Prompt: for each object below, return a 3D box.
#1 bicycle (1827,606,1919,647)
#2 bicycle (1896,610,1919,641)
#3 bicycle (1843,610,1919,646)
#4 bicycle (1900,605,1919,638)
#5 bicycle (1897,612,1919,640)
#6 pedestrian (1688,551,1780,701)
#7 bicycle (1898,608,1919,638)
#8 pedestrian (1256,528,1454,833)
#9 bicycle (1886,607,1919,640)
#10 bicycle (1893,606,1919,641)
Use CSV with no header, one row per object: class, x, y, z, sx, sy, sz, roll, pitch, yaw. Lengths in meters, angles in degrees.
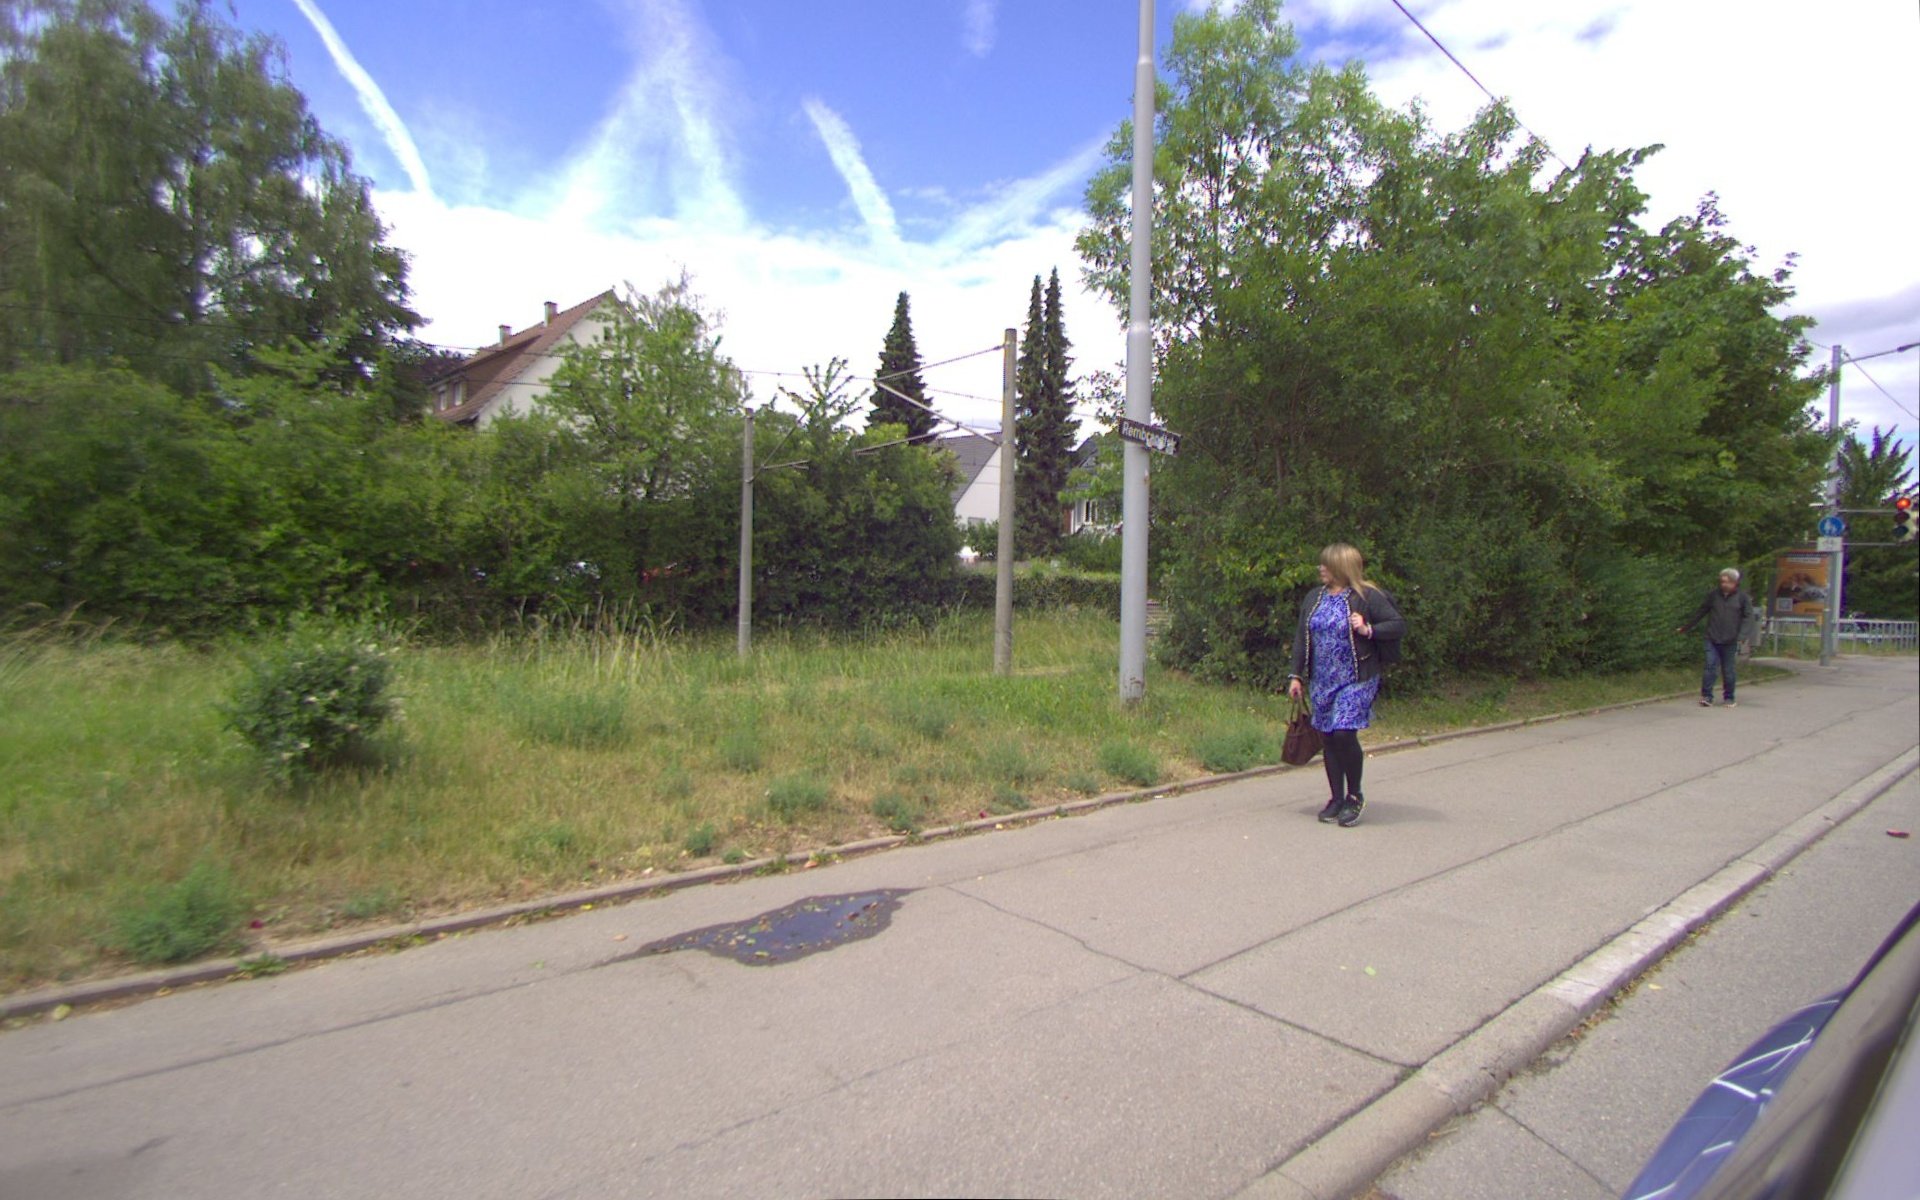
bicycle,27.868,0.786,30.832,0.536,1.094,2.095,0,3,-36
bicycle,34.604,0.933,35.731,0.443,1.060,2.205,0,2,-41
bicycle,29.010,0.861,31.613,0.548,1.061,2.094,0,-1,-36
bicycle,35.645,0.826,36.716,0.442,1.163,2.209,0,2,-33
bicycle,34.285,0.938,35.387,0.443,0.950,2.204,0,1,-42
pedestrian,10.242,0.328,13.403,0.786,1.906,0.748,0,0,-34
bicycle,35.334,0.884,36.433,0.442,1.060,2.209,0,2,-33
pedestrian,2.385,0.435,6.139,0.752,1.680,0.842,0,0,-36
bicycle,33.176,0.841,34.720,0.441,1.060,2.101,1,3,-18
bicycle,33.850,0.840,35.114,0.521,1.165,2.092,0,1,-41
